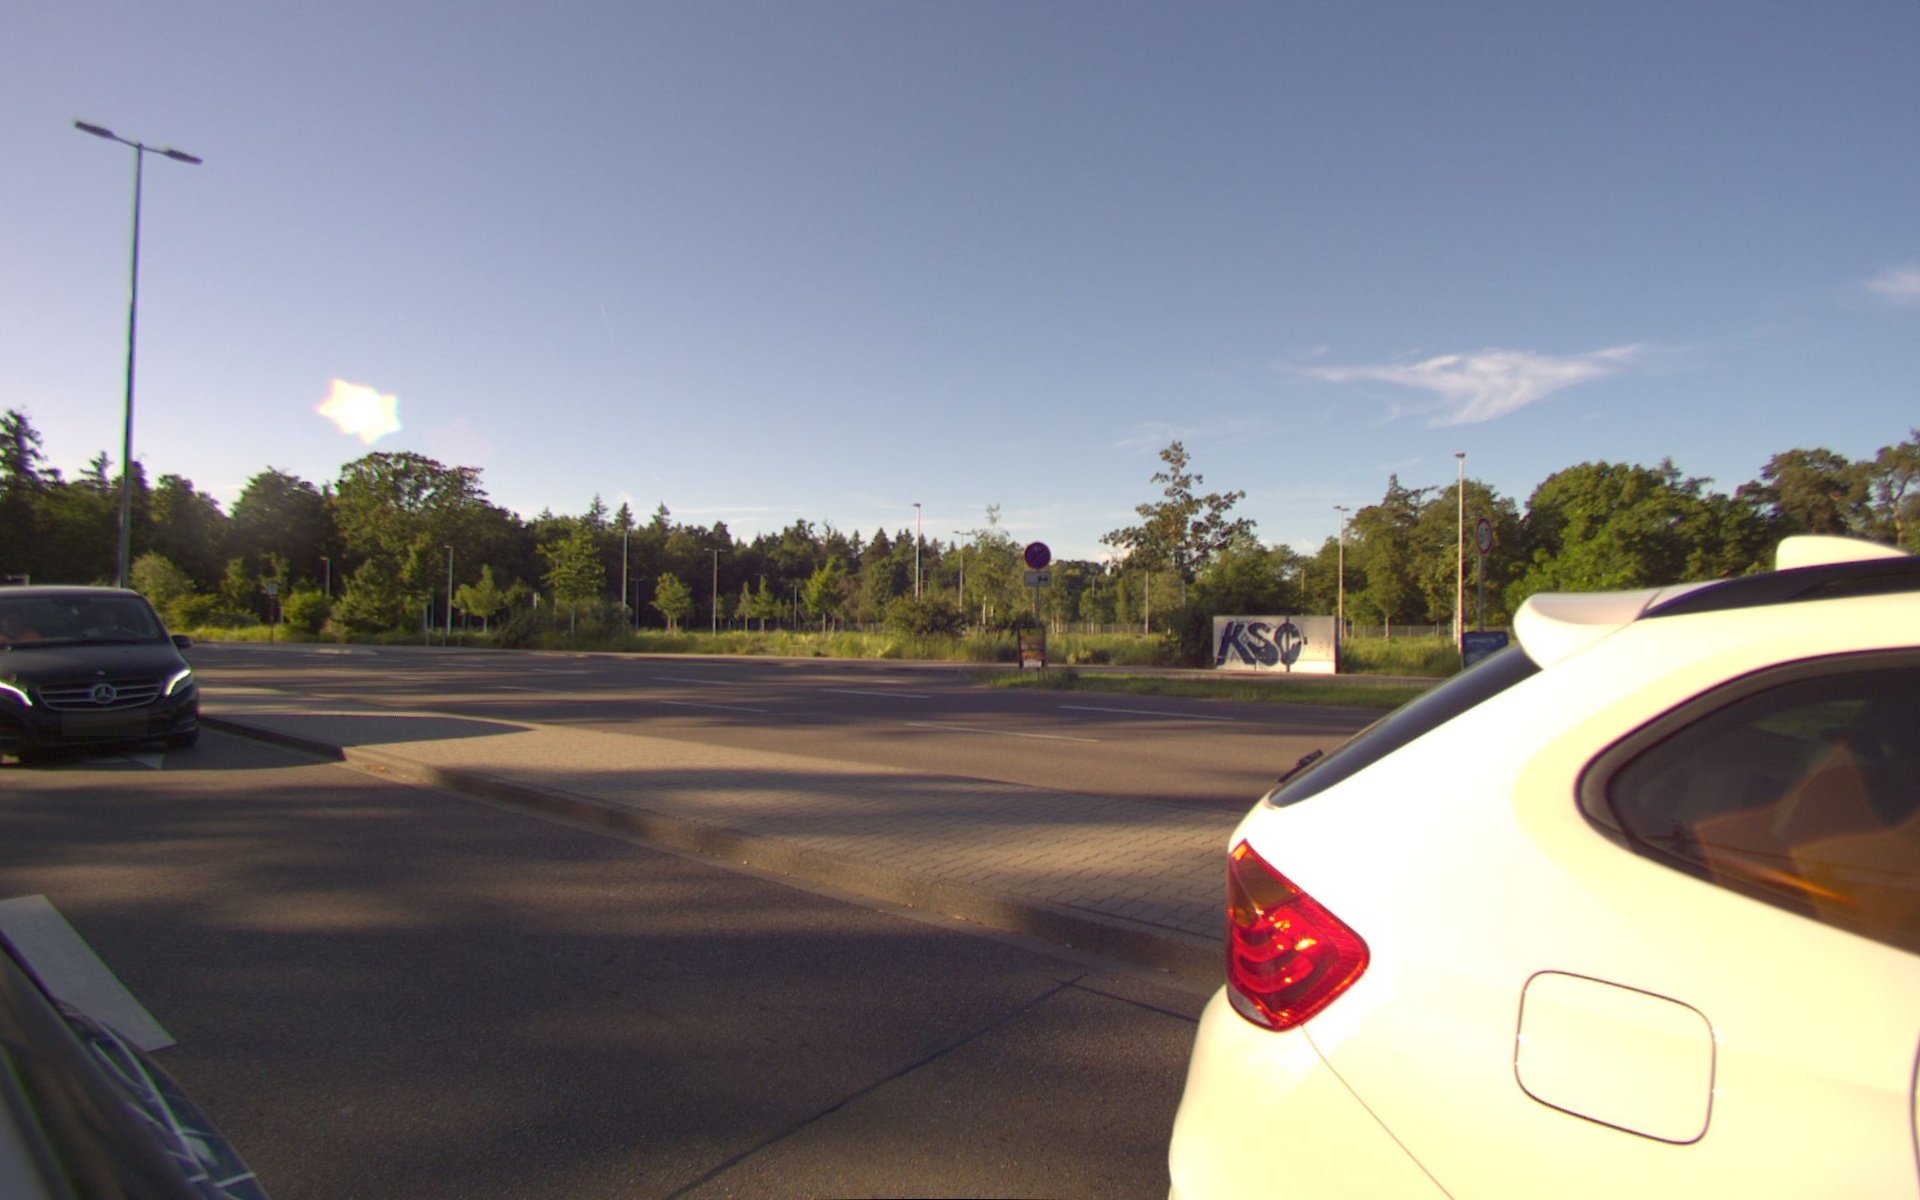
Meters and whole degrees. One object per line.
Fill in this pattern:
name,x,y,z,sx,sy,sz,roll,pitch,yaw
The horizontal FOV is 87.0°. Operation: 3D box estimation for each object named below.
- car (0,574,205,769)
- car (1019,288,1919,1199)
car,-10.610,0.677,11.822,4.871,1.870,1.887,0,0,41
car,2.302,0.510,0.715,4.433,1.592,1.700,0,0,42
